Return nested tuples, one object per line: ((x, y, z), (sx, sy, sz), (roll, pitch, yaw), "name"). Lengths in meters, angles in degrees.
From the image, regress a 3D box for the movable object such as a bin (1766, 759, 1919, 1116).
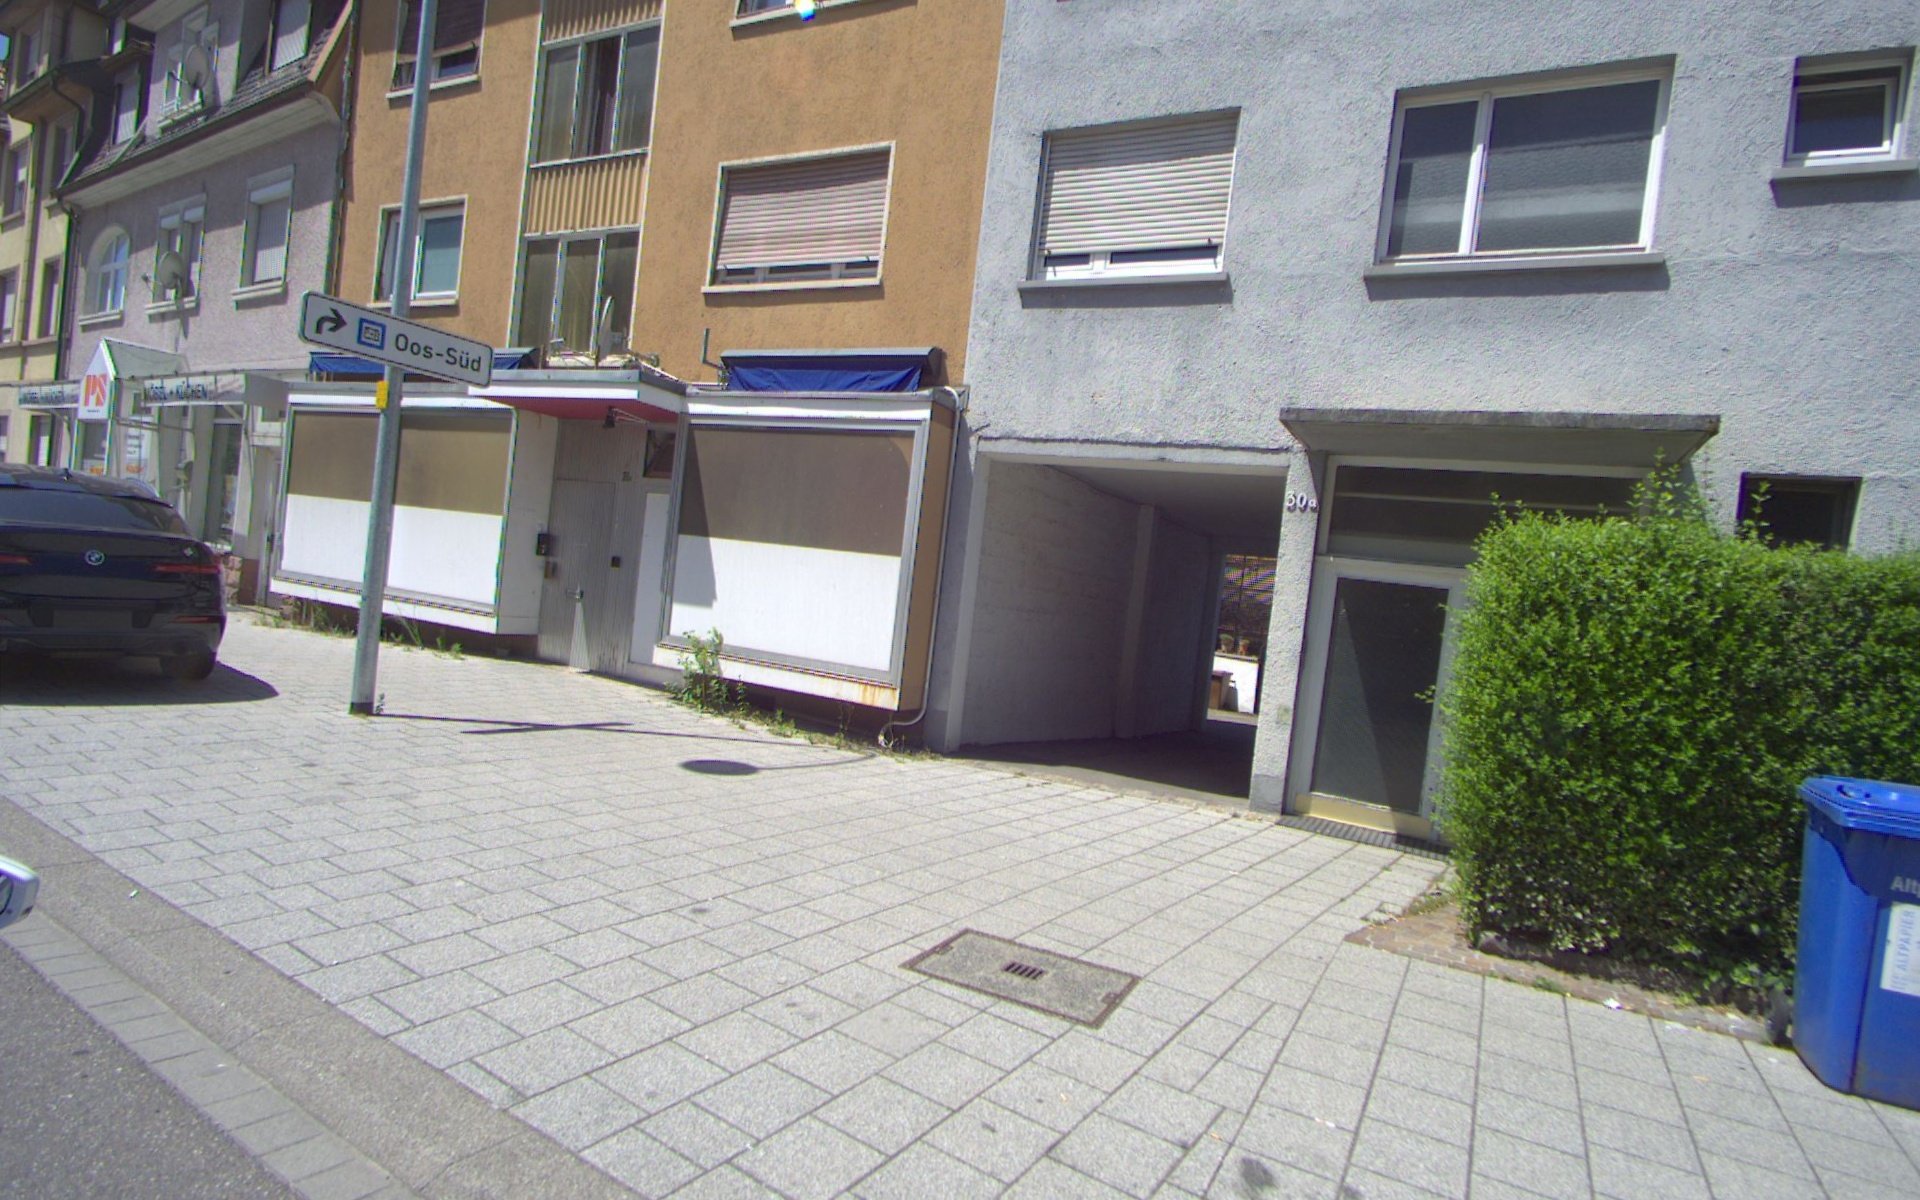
((3.397, 1.187, 3.582), (0.636, 1.091, 0.594), (7, 2, 30), "movable object such as a bin")

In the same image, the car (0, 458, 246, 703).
((-7.769, -0.283, 8.363), (4.301, 1.628, 1.892), (6, 2, 39), "car")
